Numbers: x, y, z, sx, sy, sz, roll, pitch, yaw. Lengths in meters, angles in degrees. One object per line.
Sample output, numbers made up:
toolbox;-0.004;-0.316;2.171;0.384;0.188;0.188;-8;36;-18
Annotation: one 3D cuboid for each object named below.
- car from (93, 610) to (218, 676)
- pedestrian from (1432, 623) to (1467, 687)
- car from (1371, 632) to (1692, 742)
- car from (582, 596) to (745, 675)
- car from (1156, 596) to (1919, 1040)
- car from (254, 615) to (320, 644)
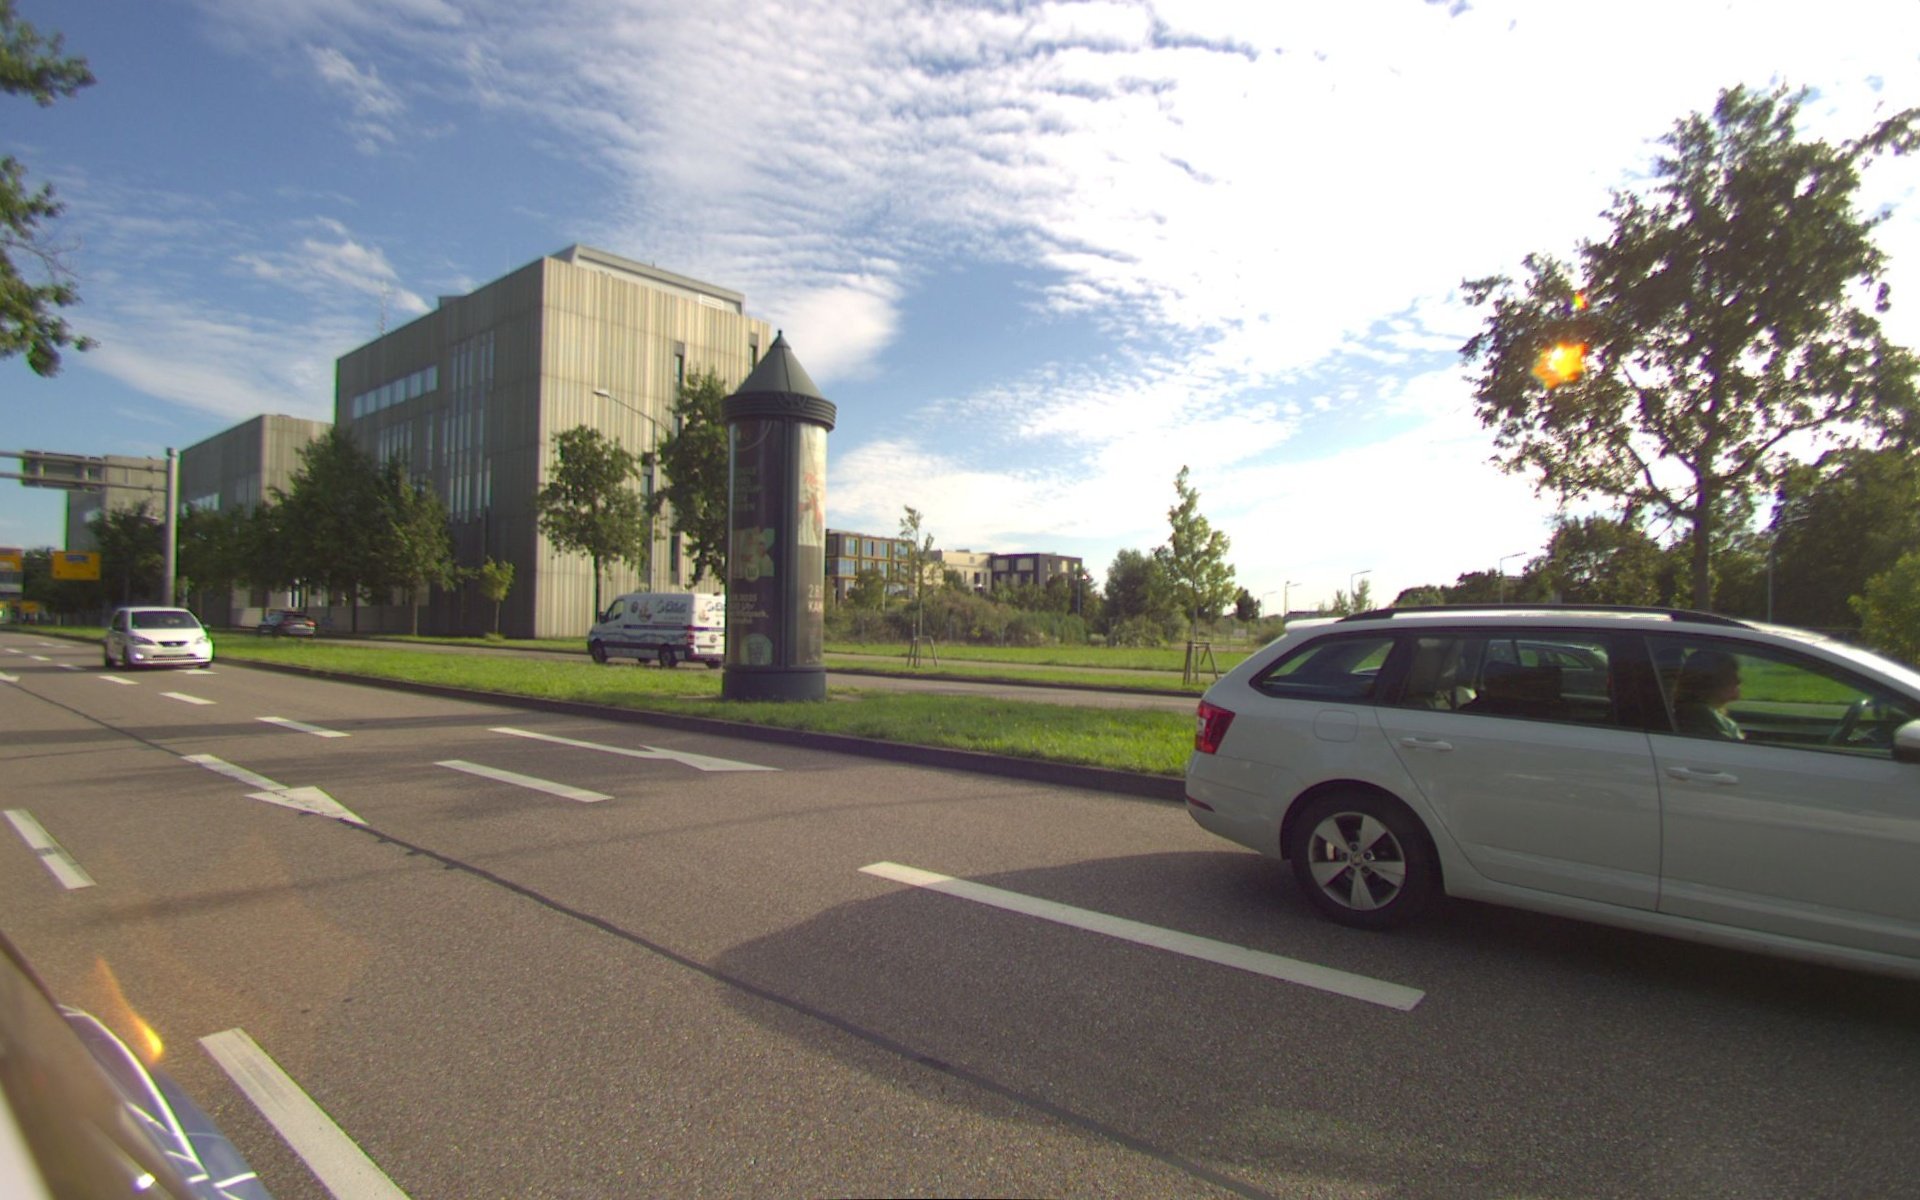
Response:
car;-19.485;0.992;24.474;3.658;1.475;1.743;-1;-1;41
pedestrian;12.810;1.424;26.471;0.658;1.642;0.620;-1;-2;43
car;9.524;1.383;17.094;4.453;1.584;1.831;-1;-4;41
car;-9.364;1.090;31.706;5.534;2.272;2.007;-1;-4;38
car;3.347;0.732;4.377;4.636;1.456;1.831;-1;-1;41
car;-35.799;1.524;53.763;4.453;1.475;1.831;-1;-1;41
